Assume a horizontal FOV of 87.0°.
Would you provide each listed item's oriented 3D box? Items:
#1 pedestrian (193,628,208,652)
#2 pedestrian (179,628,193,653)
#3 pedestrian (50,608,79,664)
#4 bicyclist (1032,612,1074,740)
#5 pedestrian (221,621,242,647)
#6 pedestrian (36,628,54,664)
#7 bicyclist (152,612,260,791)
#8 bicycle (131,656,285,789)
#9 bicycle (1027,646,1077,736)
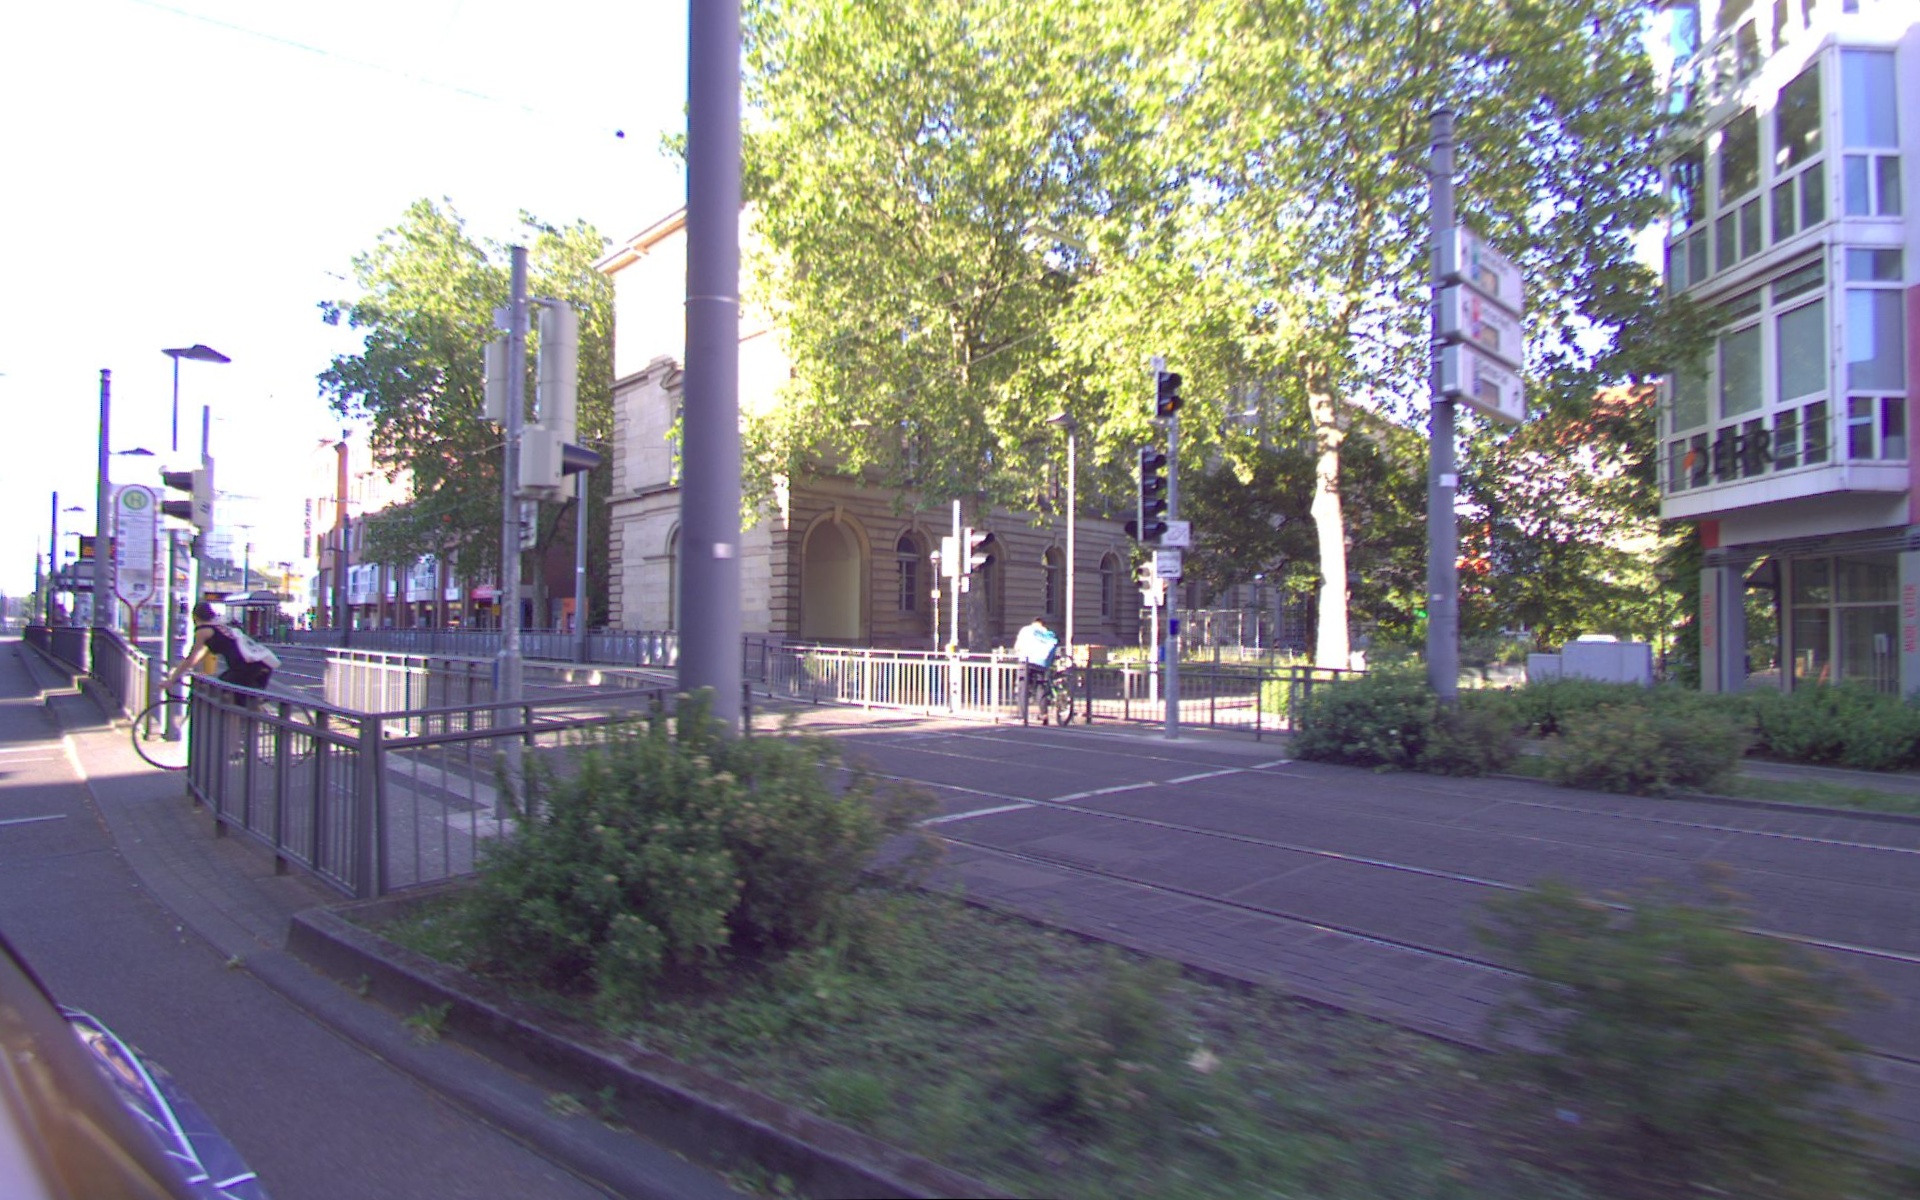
[{"bbox_3d":[-57.673,3.027,76.875,0.847,1.780,0.813,-1,0,-36],"label":"pedestrian"},{"bbox_3d":[-58.378,3.054,76.338,0.847,1.780,0.813,-1,0,-37],"label":"pedestrian"},{"bbox_3d":[-28.431,1.140,32.137,0.615,1.725,0.850,2,-3,-44],"label":"pedestrian"},{"bbox_3d":[1.285,1.040,14.088,0.526,1.725,0.745,0,-2,1],"label":"bicyclist"},{"bbox_3d":[-46.056,2.143,64.004,0.900,1.674,0.968,2,-2,-45],"label":"pedestrian"},{"bbox_3d":[-45.631,2.280,50.465,0.606,1.805,0.576,-1,-2,44],"label":"pedestrian"},{"bbox_3d":[-7.022,0.917,9.433,0.742,1.590,0.528,-1,-2,30],"label":"bicyclist"},{"bbox_3d":[-7.100,1.102,9.529,1.895,1.086,0.577,-1,0,35],"label":"bicycle"},{"bbox_3d":[1.294,1.260,14.457,0.576,1.086,1.898,-1,0,2],"label":"bicycle"}]
